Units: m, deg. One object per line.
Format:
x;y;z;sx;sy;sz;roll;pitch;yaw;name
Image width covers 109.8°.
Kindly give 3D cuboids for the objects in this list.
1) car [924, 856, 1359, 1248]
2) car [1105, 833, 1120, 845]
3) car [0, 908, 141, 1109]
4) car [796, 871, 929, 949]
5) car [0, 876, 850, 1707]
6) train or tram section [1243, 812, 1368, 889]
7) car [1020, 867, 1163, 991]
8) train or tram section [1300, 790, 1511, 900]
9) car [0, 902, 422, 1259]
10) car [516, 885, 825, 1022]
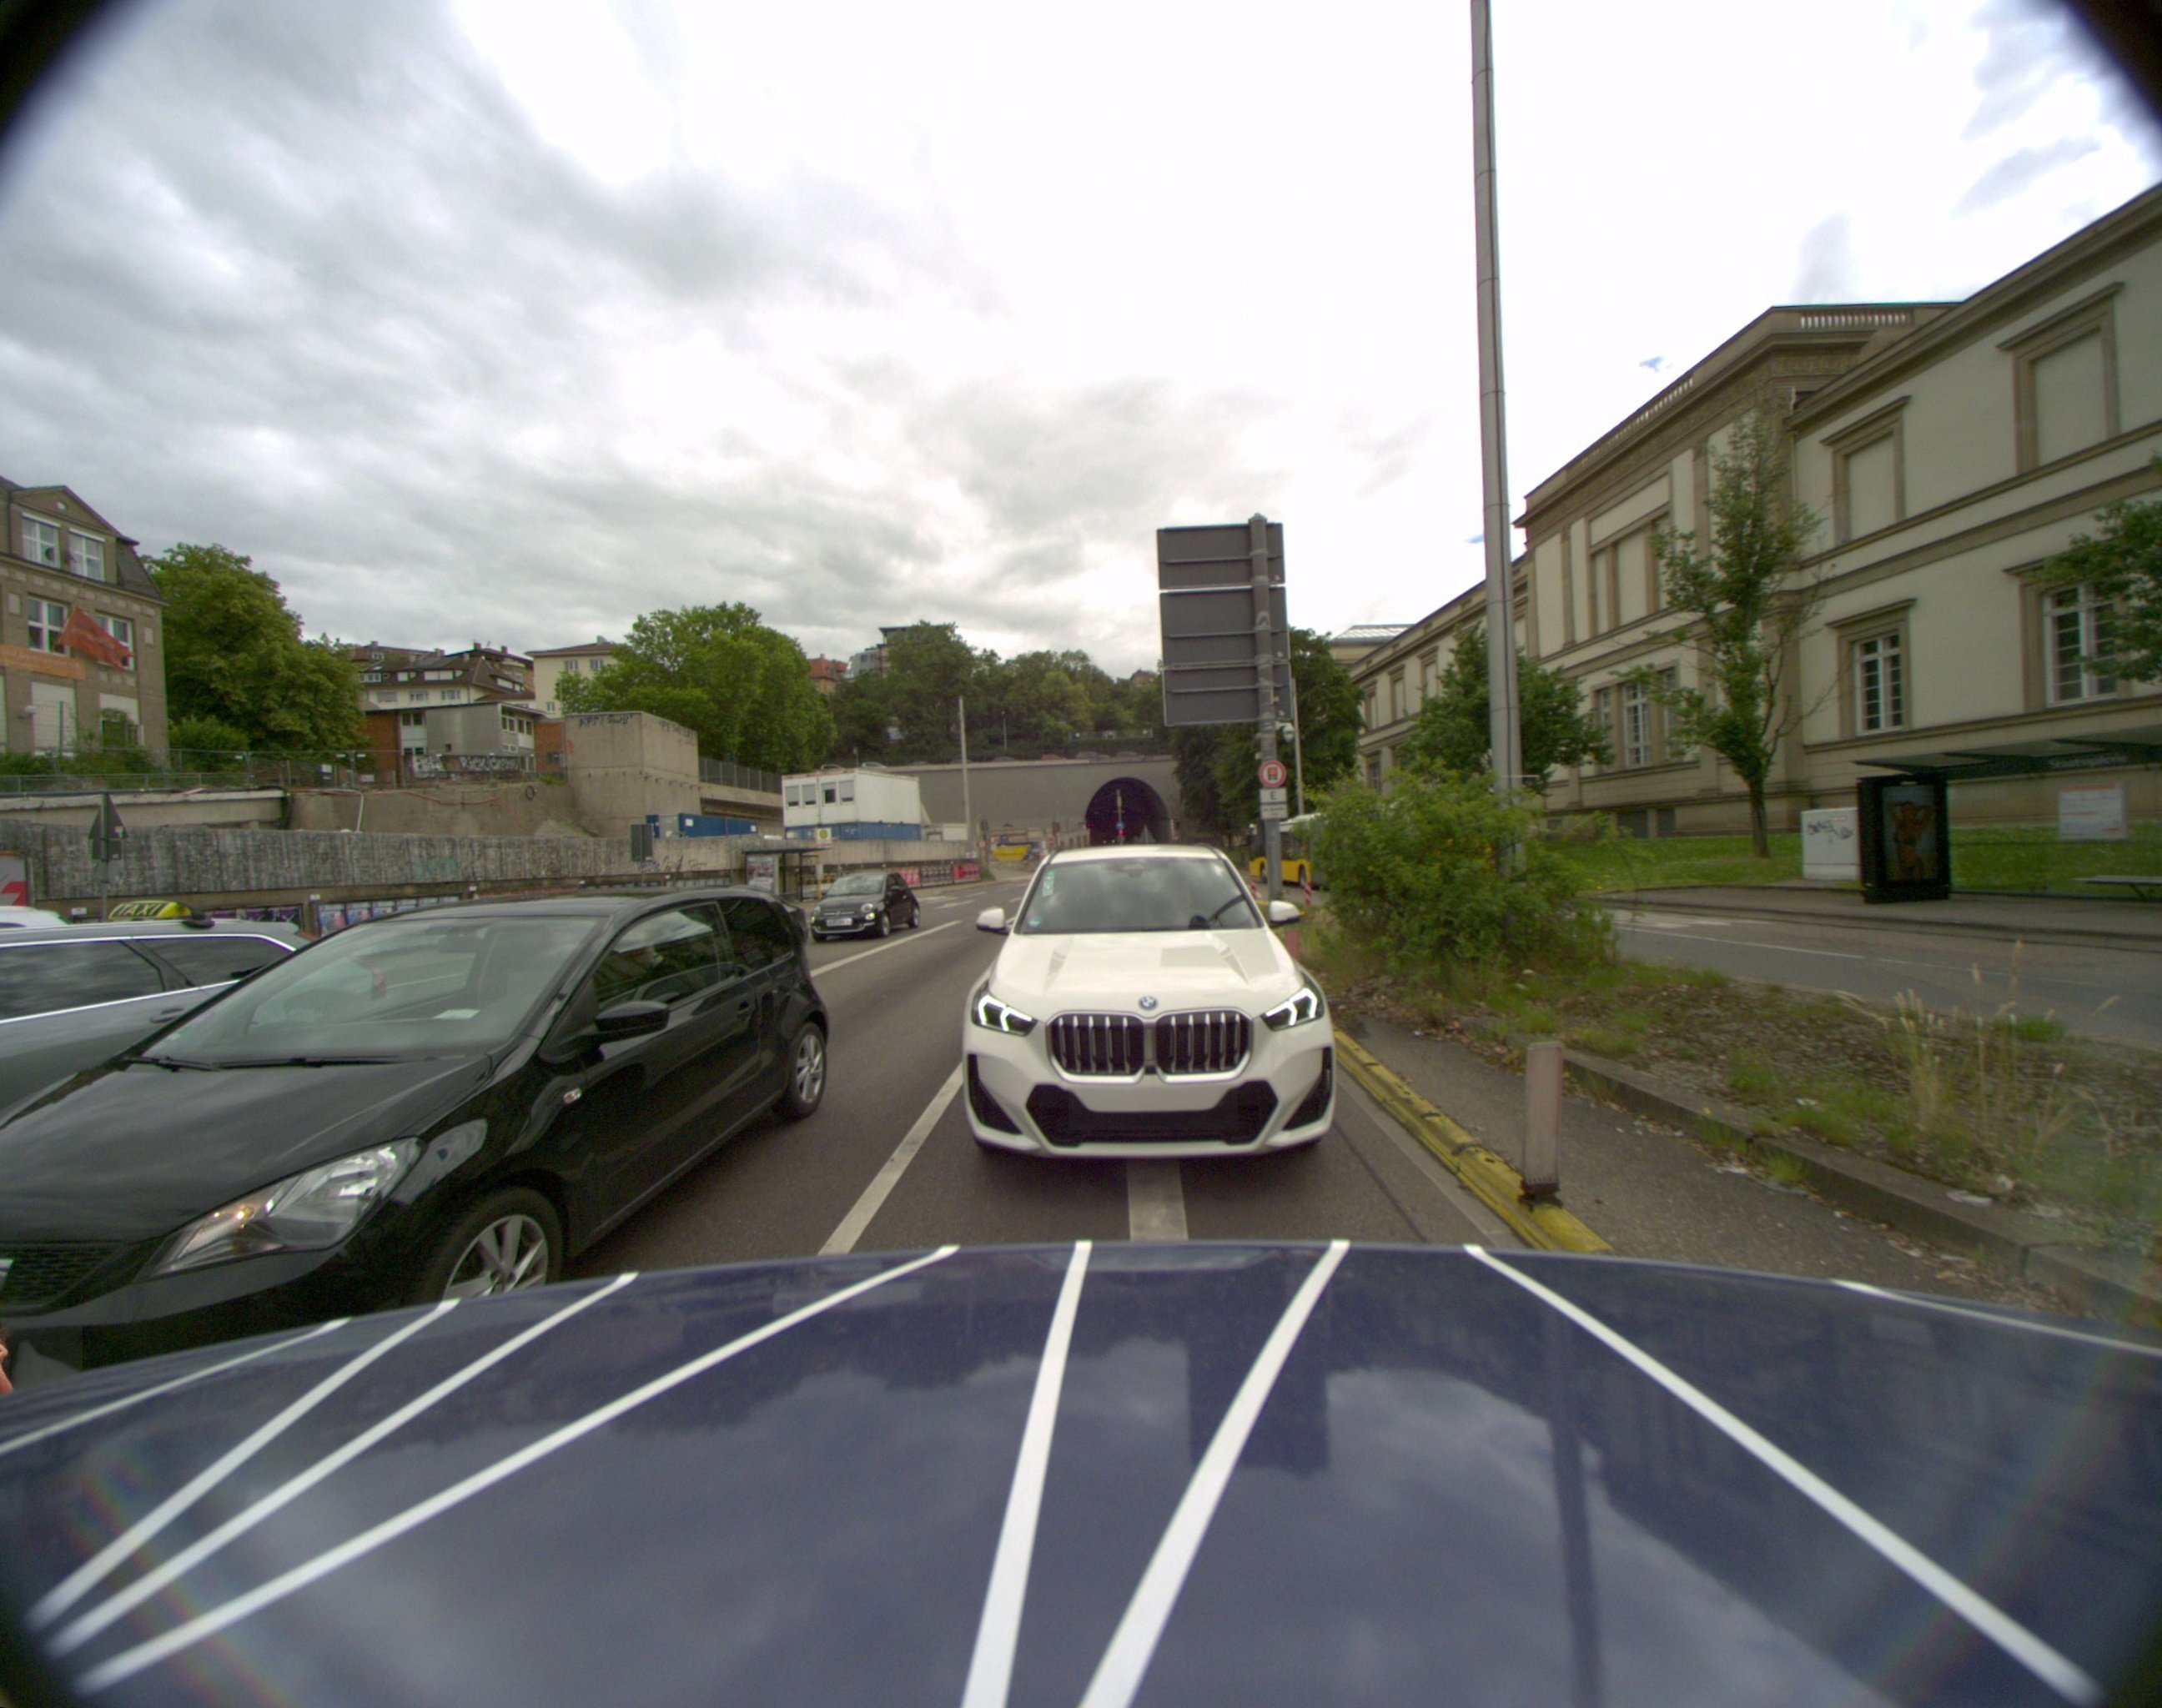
0.335;0.846;5.131;1.756;1.547;3.911;-2;1;3;car
4.332;-2.123;106.042;1.948;1.565;3.999;-2;1;1;car
-9.155;1.256;4.587;1.826;1.457;4.073;-2;1;0;car
-4.948;1.221;17.783;1.720;1.450;3.782;-3;0;4;car
-2.534;0.976;3.283;1.661;1.547;3.911;-2;1;3;car
10.043;-0.151;35.300;2.701;3.053;9.374;-1;0;-2;train or tram section
0.217;0.988;11.606;1.756;1.427;3.911;-2;0;3;car
10.438;-0.259;25.926;2.701;3.053;9.333;-1;0;-3;train or tram section
-5.829;1.141;3.462;1.826;1.457;4.217;-2;1;2;car
-5.404;1.223;10.768;1.826;1.356;4.219;-2;0;4;car
